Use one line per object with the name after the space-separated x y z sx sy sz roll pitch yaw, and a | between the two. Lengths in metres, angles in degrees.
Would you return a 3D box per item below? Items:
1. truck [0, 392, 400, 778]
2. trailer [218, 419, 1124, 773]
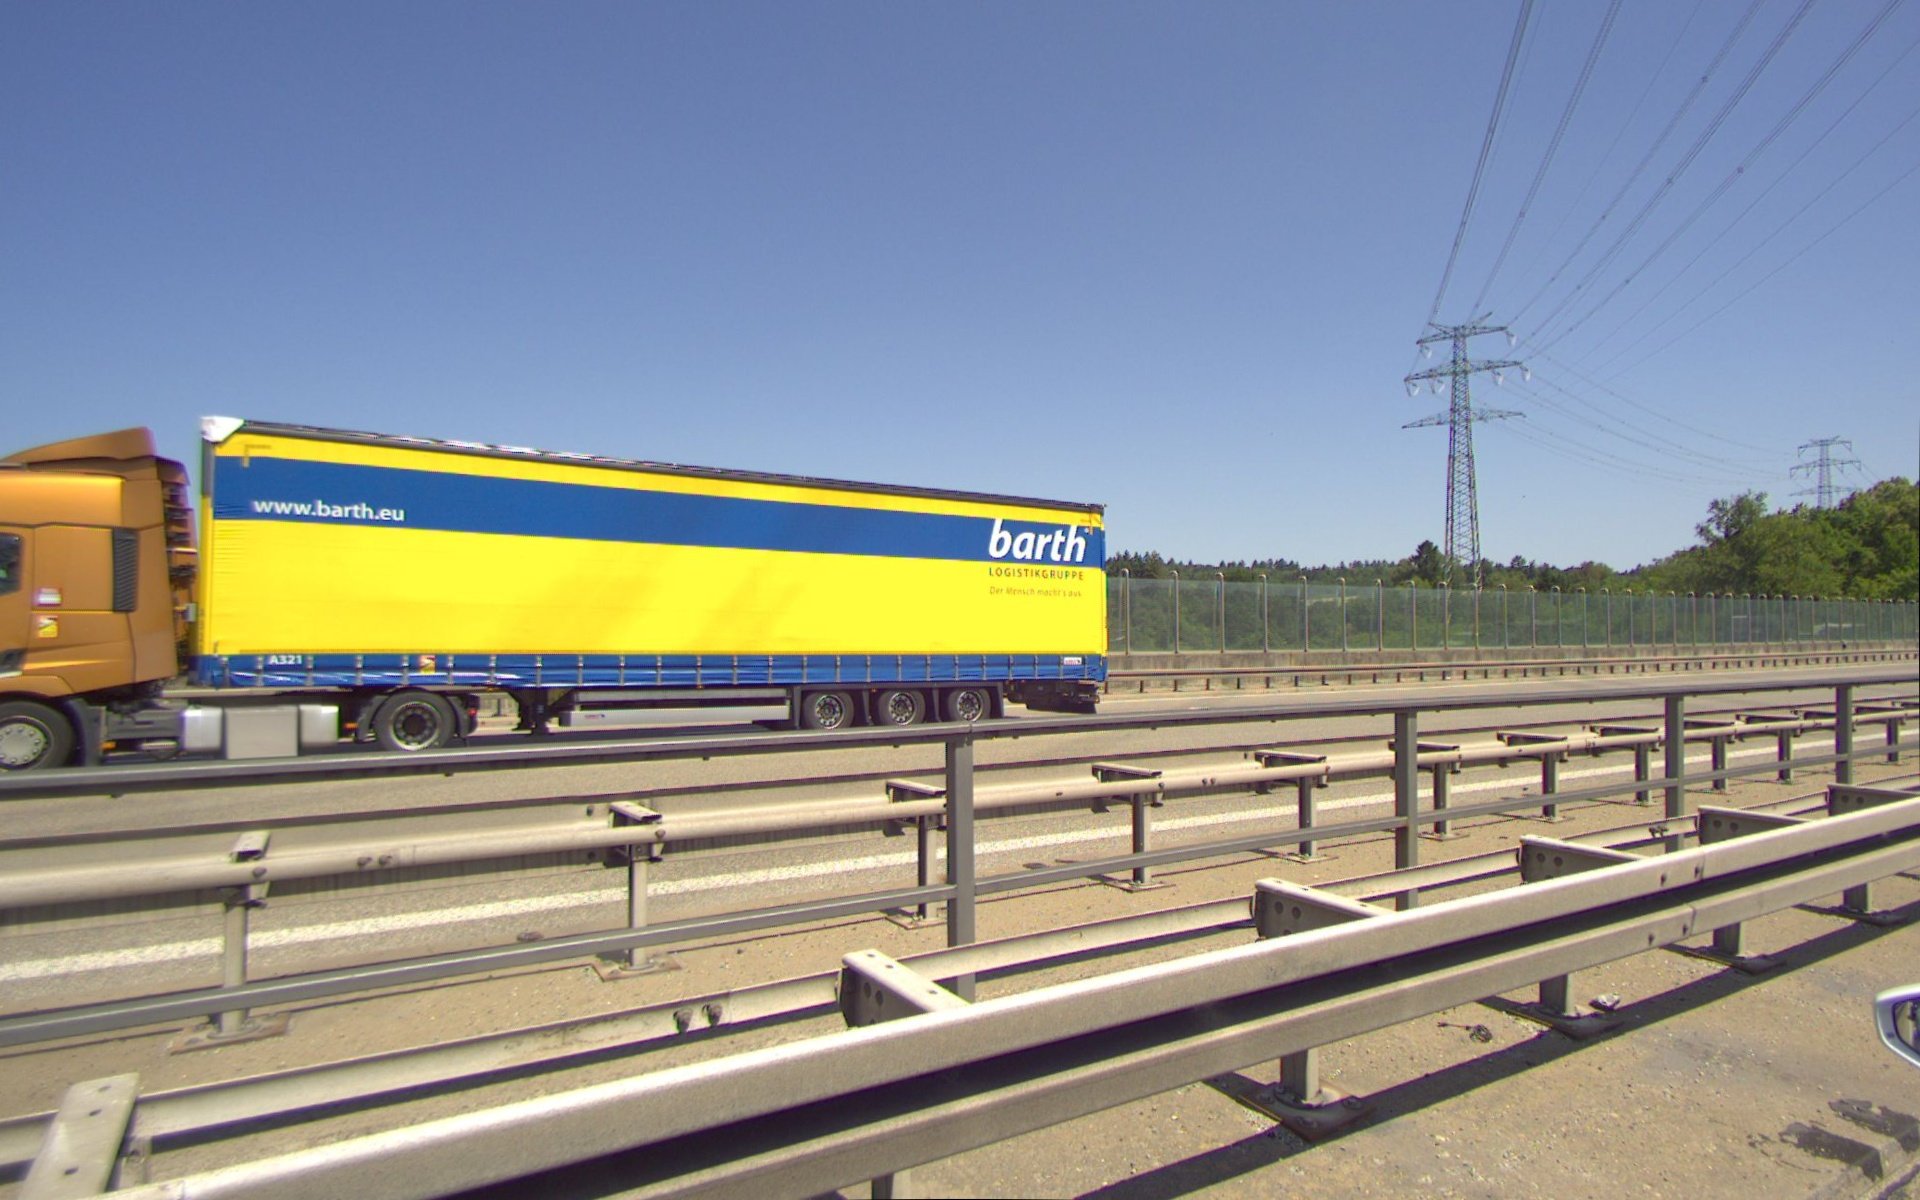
-10.020 -0.098 12.234 5.478 4.111 2.403 2 -3 -30 | truck
-3.373 0.091 16.262 13.644 4.117 2.411 1 -2 -31 | trailer
